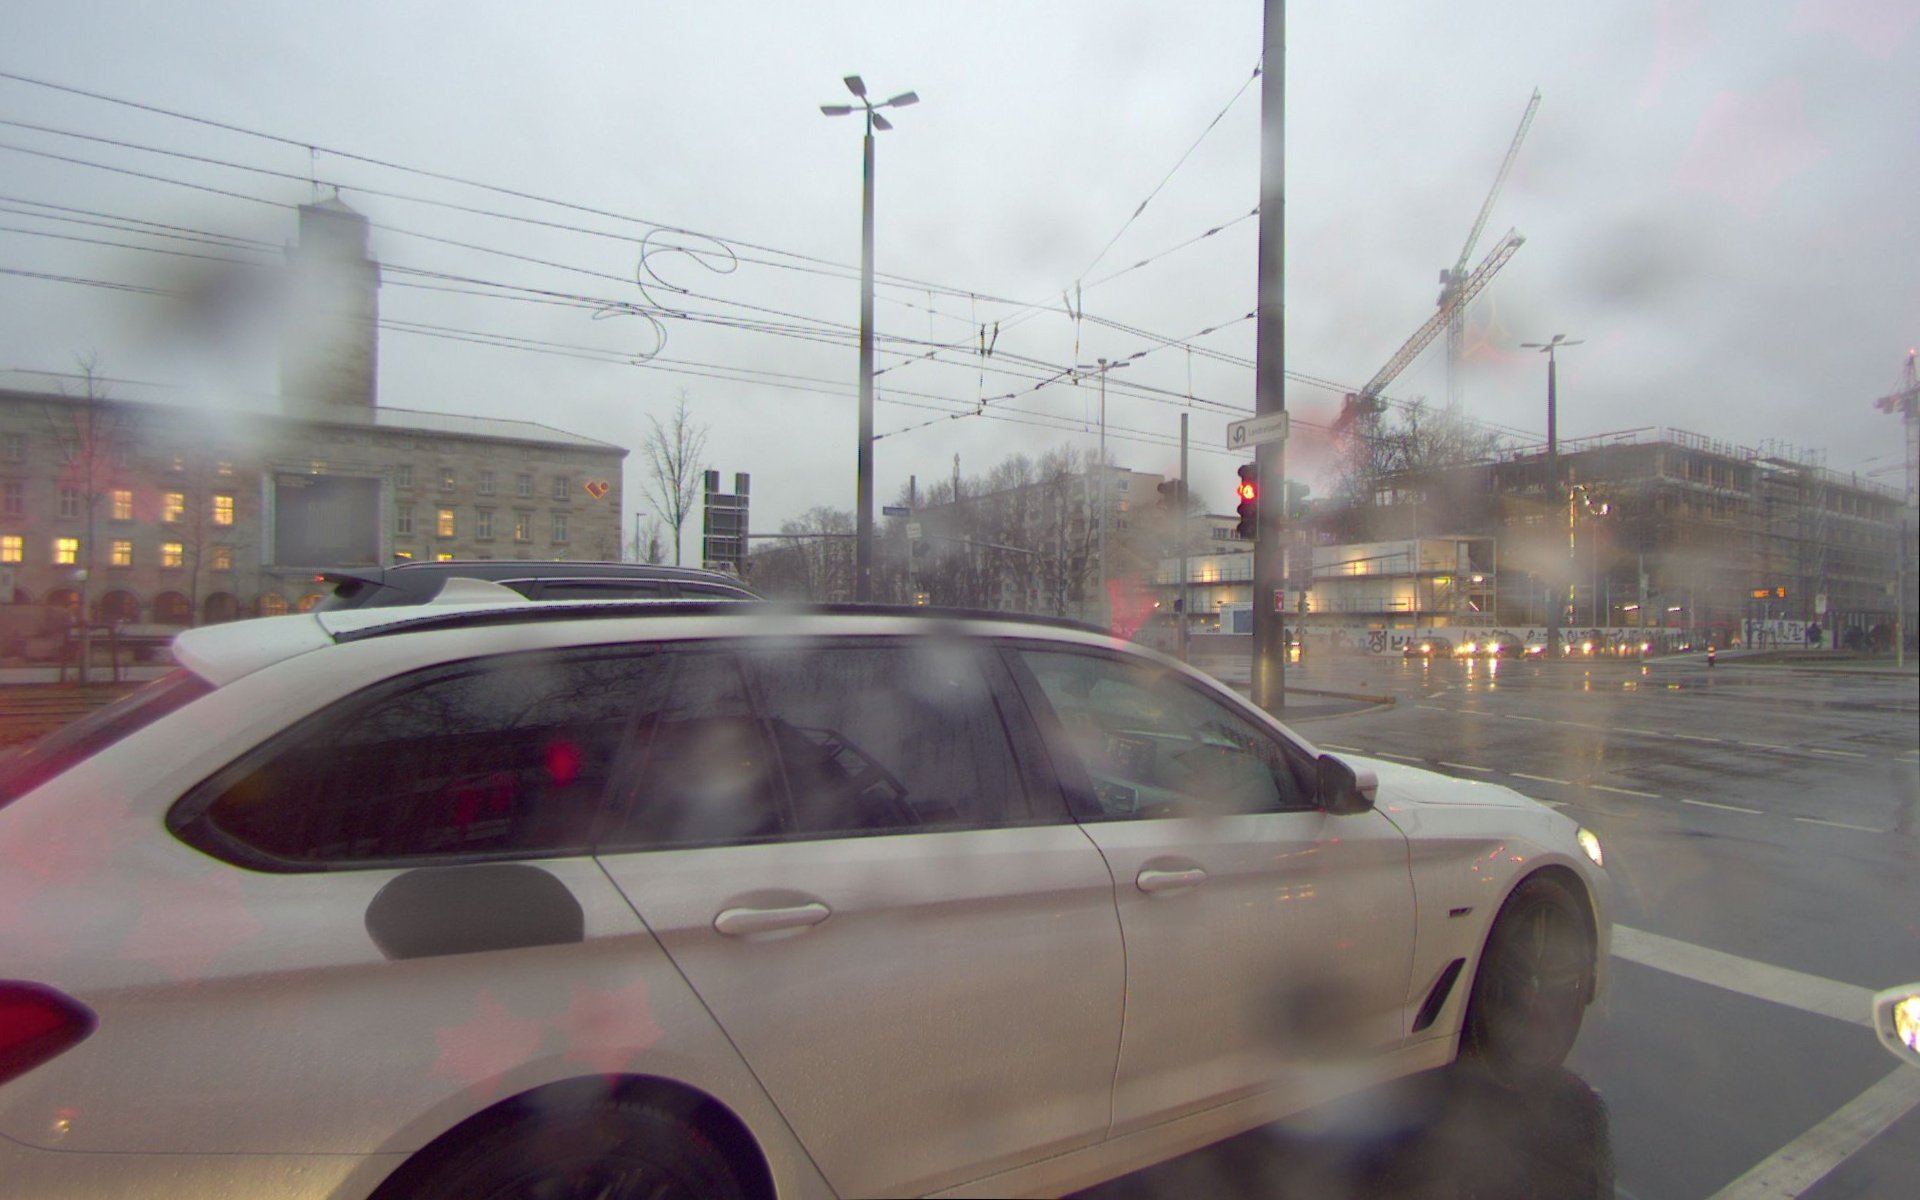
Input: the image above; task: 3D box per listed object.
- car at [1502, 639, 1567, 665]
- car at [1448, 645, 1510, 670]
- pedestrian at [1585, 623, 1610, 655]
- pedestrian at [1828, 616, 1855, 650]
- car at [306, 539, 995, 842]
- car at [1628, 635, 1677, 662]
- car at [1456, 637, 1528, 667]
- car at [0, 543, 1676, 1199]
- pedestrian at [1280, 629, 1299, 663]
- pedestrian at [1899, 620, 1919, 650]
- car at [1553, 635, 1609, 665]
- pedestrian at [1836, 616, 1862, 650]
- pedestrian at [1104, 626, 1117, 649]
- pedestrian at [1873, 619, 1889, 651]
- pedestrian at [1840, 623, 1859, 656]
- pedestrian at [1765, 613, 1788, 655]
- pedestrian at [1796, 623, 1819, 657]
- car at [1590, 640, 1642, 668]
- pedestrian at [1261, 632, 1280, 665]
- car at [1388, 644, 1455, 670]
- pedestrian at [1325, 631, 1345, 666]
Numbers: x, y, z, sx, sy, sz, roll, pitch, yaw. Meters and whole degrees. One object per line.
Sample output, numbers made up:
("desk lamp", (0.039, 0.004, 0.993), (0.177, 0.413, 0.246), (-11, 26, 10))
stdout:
("car", (35.882, 3.245, 62.715), (4.577, 1.550, 2.059), (2, -2, -40))
("car", (34.972, 3.858, 67.672), (3.953, 1.550, 1.984), (2, -2, -30))
("pedestrian", (29.158, 1.787, 45.970), (0.718, 1.407, 0.723), (2, 0, -36))
("pedestrian", (54.378, 2.023, 61.992), (1.082, 2.040, 0.937), (2, 0, -32))
("car", (-2.065, 0.551, 7.230), (4.238, 1.605, 1.958), (2, -1, -29))
("car", (50.340, 3.498, 73.018), (3.968, 1.814, 1.976), (2, 0, -41))
("car", (31.311, 3.055, 59.126), (3.953, 1.679, 1.984), (2, -2, -30))
("car", (-0.007, 0.750, 3.099), (4.508, 1.506, 2.007), (2, -2, -31))
("pedestrian", (20.776, 2.897, 63.319), (0.737, 2.040, 0.783), (2, 0, -25))
("pedestrian", (66.152, 2.419, 69.875), (1.082, 2.040, 0.937), (2, 0, -32))
("car", (41.115, 3.287, 66.457), (3.963, 1.852, 1.852), (2, 0, -37))
("pedestrian", (55.752, 2.070, 63.000), (1.082, 2.040, 0.937), (2, 0, -32))
("pedestrian", (11.979, 2.960, 79.886), (0.714, 1.800, 0.789), (1, -1, -23))
("pedestrian", (57.933, 2.206, 63.169), (0.659, 1.994, 0.566), (2, 1, -36))
("pedestrian", (52.028, 2.295, 58.752), (0.547, 1.906, 0.695), (2, 0, -30))
("pedestrian", (47.190, 1.963, 58.037), (0.754, 2.354, 0.761), (3, -1, -30))
("pedestrian", (48.984, 2.330, 58.034), (0.754, 1.922, 0.761), (3, -1, -30))
("car", (45.749, 3.736, 70.032), (3.968, 1.814, 1.976), (2, 0, -41))
("pedestrian", (19.663, 3.045, 63.626), (0.620, 2.040, 0.856), (2, 0, -37))
("car", (29.297, 3.624, 63.777), (3.953, 1.550, 1.984), (2, -2, -30))
("pedestrian", (23.948, 3.078, 64.180), (0.758, 2.194, 0.867), (2, 0, -38))
